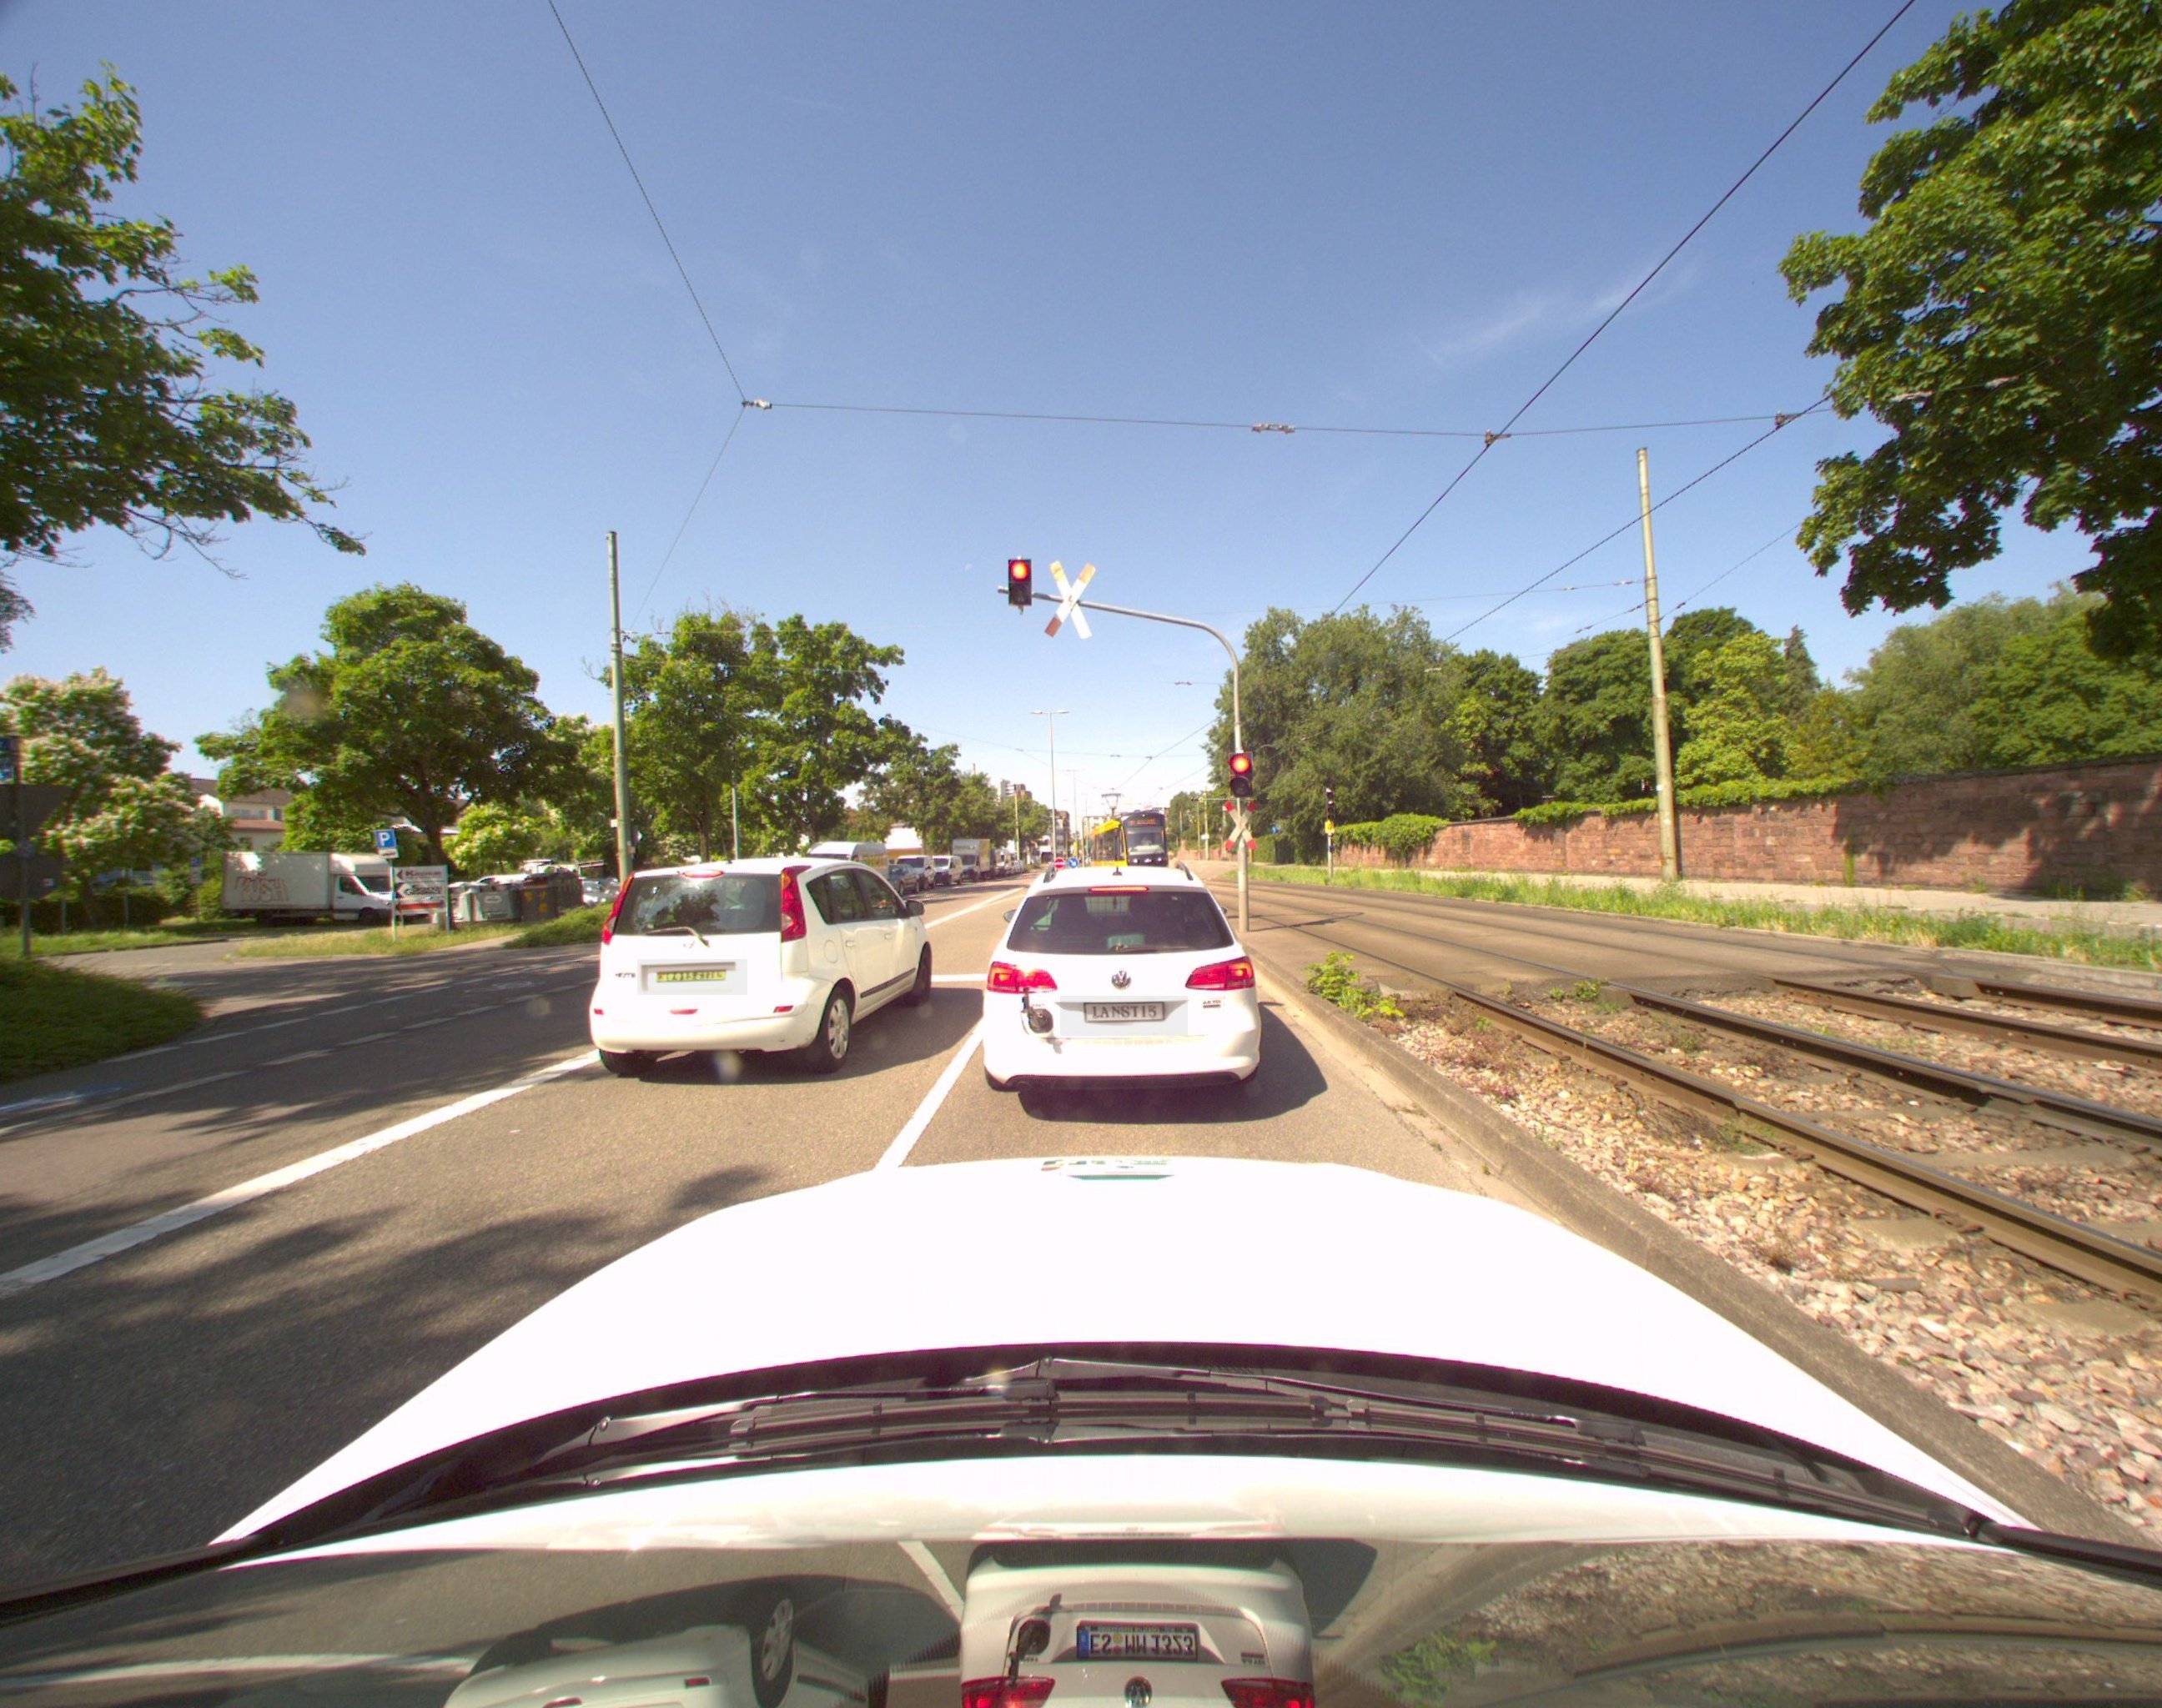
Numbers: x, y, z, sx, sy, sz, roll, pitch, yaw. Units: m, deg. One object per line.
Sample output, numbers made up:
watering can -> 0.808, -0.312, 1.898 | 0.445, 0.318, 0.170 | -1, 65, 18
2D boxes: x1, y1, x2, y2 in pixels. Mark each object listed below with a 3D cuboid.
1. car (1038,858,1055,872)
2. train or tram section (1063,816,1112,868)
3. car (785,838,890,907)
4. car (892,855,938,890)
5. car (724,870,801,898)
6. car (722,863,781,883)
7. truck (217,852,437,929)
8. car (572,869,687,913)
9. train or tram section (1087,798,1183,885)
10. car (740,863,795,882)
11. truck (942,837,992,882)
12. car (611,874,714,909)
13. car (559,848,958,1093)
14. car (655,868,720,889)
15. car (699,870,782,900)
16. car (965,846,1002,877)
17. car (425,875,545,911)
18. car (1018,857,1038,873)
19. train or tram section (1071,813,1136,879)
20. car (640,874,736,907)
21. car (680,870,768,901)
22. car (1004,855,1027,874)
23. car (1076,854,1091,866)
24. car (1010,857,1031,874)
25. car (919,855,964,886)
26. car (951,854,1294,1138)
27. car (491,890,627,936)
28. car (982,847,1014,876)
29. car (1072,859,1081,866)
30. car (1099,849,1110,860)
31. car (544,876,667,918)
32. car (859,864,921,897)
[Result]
car -> -4.104, 1.277, 96.350 | 1.670, 1.553, 3.580 | -4, 0, 1
train or tram section -> 0.351, -0.917, 67.130 | 2.866, 3.855, 10.518 | -3, 0, -5
car -> -9.582, 0.684, 32.667 | 2.114, 2.516, 5.822 | 0, 0, 3
car -> -9.236, 0.988, 45.678 | 1.859, 1.868, 5.068 | 0, 0, -4
car -> -19.464, 1.818, 49.873 | 3.977, 1.415, 1.729 | -4, -1, -3
car -> -31.478, 1.816, 77.981 | 4.780, 1.787, 2.062 | 0, -1, -3
truck -> -32.403, 1.518, 35.199 | 6.979, 3.110, 2.677 | 0, 0, 0
car -> -19.918, 1.626, 36.060 | 3.977, 1.610, 1.729 | -4, -1, -3
train or tram section -> 2.546, -0.540, 43.482 | 2.867, 3.855, 12.364 | -3, 0, -6
car -> -31.779, 1.857, 82.770 | 4.780, 1.787, 2.062 | 0, -1, -3
truck -> -8.413, 0.409, 60.684 | 2.411, 3.150, 7.001 | 0, 0, 2
car -> -20.297, 1.802, 39.596 | 3.977, 1.415, 1.729 | -4, -1, -3
car -> -2.431, 0.749, 7.523 | 1.655, 1.547, 4.550 | -1, 0, 3
car -> -35.202, 2.193, 72.965 | 4.780, 1.787, 2.062 | 0, -1, -3
car -> -19.611, 1.764, 47.057 | 3.977, 1.415, 1.729 | -4, -1, -3
car -> -8.151, 0.613, 68.682 | 2.114, 2.516, 5.737 | 0, 0, 2
car -> -31.770, 2.045, 43.530 | 4.780, 1.787, 2.062 | 0, -1, -3
car -> -6.398, 1.351, 98.933 | 1.856, 1.868, 5.415 | 0, 0, 1
train or tram section -> 1.323, -0.475, 55.705 | 2.866, 3.855, 12.368 | -3, 0, -5
car -> -20.288, 1.865, 42.155 | 3.977, 1.415, 1.729 | -4, -1, -3
car -> -19.541, 1.719, 44.723 | 3.977, 1.415, 1.729 | -4, -1, -3
car -> -6.830, 1.089, 85.203 | 1.856, 1.868, 5.415 | 0, 0, 1
car -> 0.354, 0.814, 113.015 | 1.698, 1.473, 4.593 | -3, 0, 3
car -> -6.780, 1.265, 92.021 | 1.856, 1.868, 5.415 | 0, 0, 1
car -> -8.873, 1.009, 52.262 | 1.856, 1.868, 5.415 | 0, 0, 1
car -> 0.281, 0.754, 6.317 | 1.756, 1.430, 4.002 | -3, 0, 2
car -> -19.900, 2.232, 31.160 | 3.977, 1.415, 1.729 | -4, -1, -3
car -> -7.700, 0.673, 76.112 | 2.114, 2.516, 5.737 | 0, 0, 2
car -> -0.975, 1.821, 179.038 | 1.698, 1.473, 4.593 | -3, 0, 3
car -> 5.613, 0.012, 193.533 | 2.364, 2.495, 6.377 | -3, 0, 3
car -> -19.668, 1.766, 33.827 | 3.977, 1.415, 1.729 | -4, -1, -3
car -> -9.087, 1.219, 39.131 | 1.856, 1.415, 4.281 | 0, 0, 1
